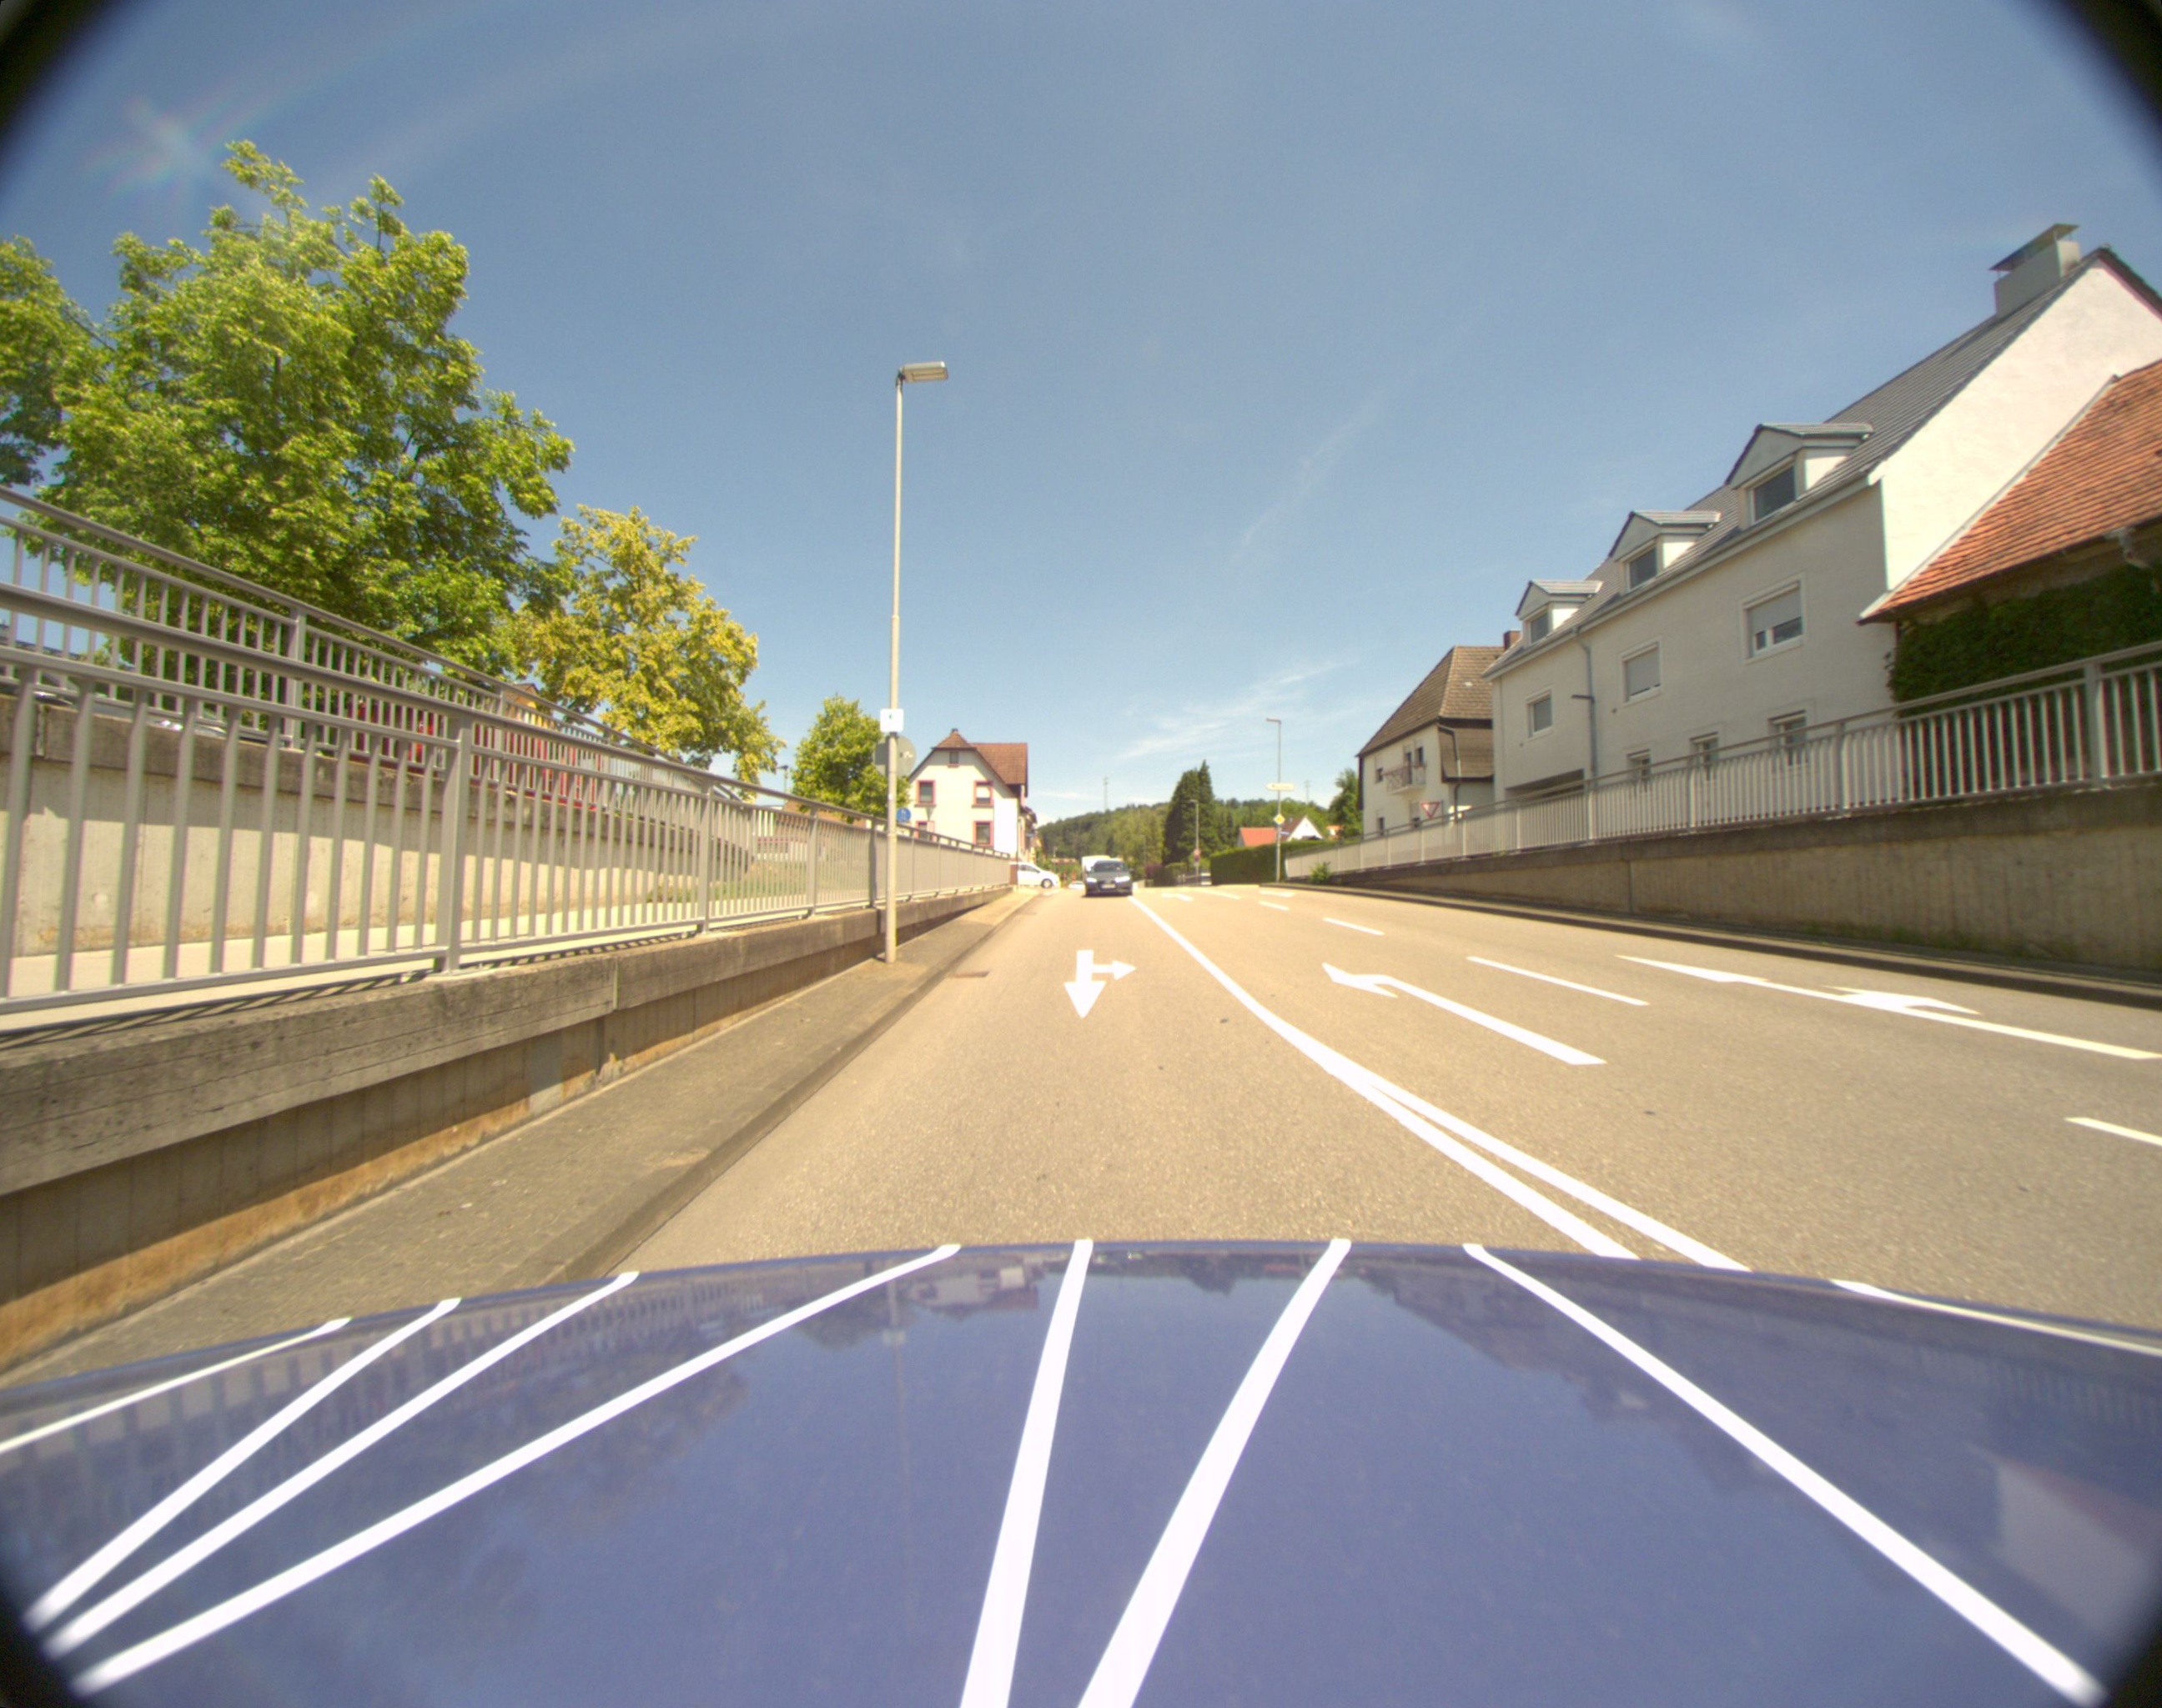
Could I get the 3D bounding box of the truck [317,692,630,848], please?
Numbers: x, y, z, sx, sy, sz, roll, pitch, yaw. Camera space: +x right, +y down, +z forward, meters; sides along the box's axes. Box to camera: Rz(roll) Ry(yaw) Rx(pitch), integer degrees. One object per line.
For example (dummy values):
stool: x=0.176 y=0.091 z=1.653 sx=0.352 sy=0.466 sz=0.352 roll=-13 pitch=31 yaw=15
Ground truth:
truck: x=-11.859 y=-1.451 z=15.518 sx=2.137 sy=2.319 sz=5.262 roll=-1 pitch=-3 yaw=0

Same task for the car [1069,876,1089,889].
car: x=-0.213 y=3.514 z=93.371 sx=1.998 sy=1.509 sz=4.147 roll=4 pitch=-3 yaw=4

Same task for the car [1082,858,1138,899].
car: x=1.068 y=0.920 z=30.078 sx=1.864 sy=1.441 sz=3.999 roll=-2 pitch=0 yaw=-2

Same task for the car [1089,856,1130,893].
car: x=1.671 y=1.195 z=46.439 sx=1.999 sy=2.002 sz=4.546 roll=-2 pitch=1 yaw=-4

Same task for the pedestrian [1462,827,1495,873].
pedestrian: x=15.148 y=-0.156 z=28.965 sx=0.729 sy=1.719 sz=0.856 roll=-2 pitch=0 yaw=-3

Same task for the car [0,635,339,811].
car: x=-10.926 y=-1.319 z=8.270 sx=3.996 sy=1.489 sz=1.749 roll=0 pitch=-3 yaw=2

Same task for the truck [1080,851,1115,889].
truck: x=1.552 y=1.626 z=73.518 sx=3.149 sy=3.465 sz=8.275 roll=-1 pitch=-2 yaw=0

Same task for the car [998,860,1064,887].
car: x=-2.916 y=1.133 z=44.002 sx=3.681 sy=1.469 sz=1.775 roll=1 pitch=-1 yaw=-5
